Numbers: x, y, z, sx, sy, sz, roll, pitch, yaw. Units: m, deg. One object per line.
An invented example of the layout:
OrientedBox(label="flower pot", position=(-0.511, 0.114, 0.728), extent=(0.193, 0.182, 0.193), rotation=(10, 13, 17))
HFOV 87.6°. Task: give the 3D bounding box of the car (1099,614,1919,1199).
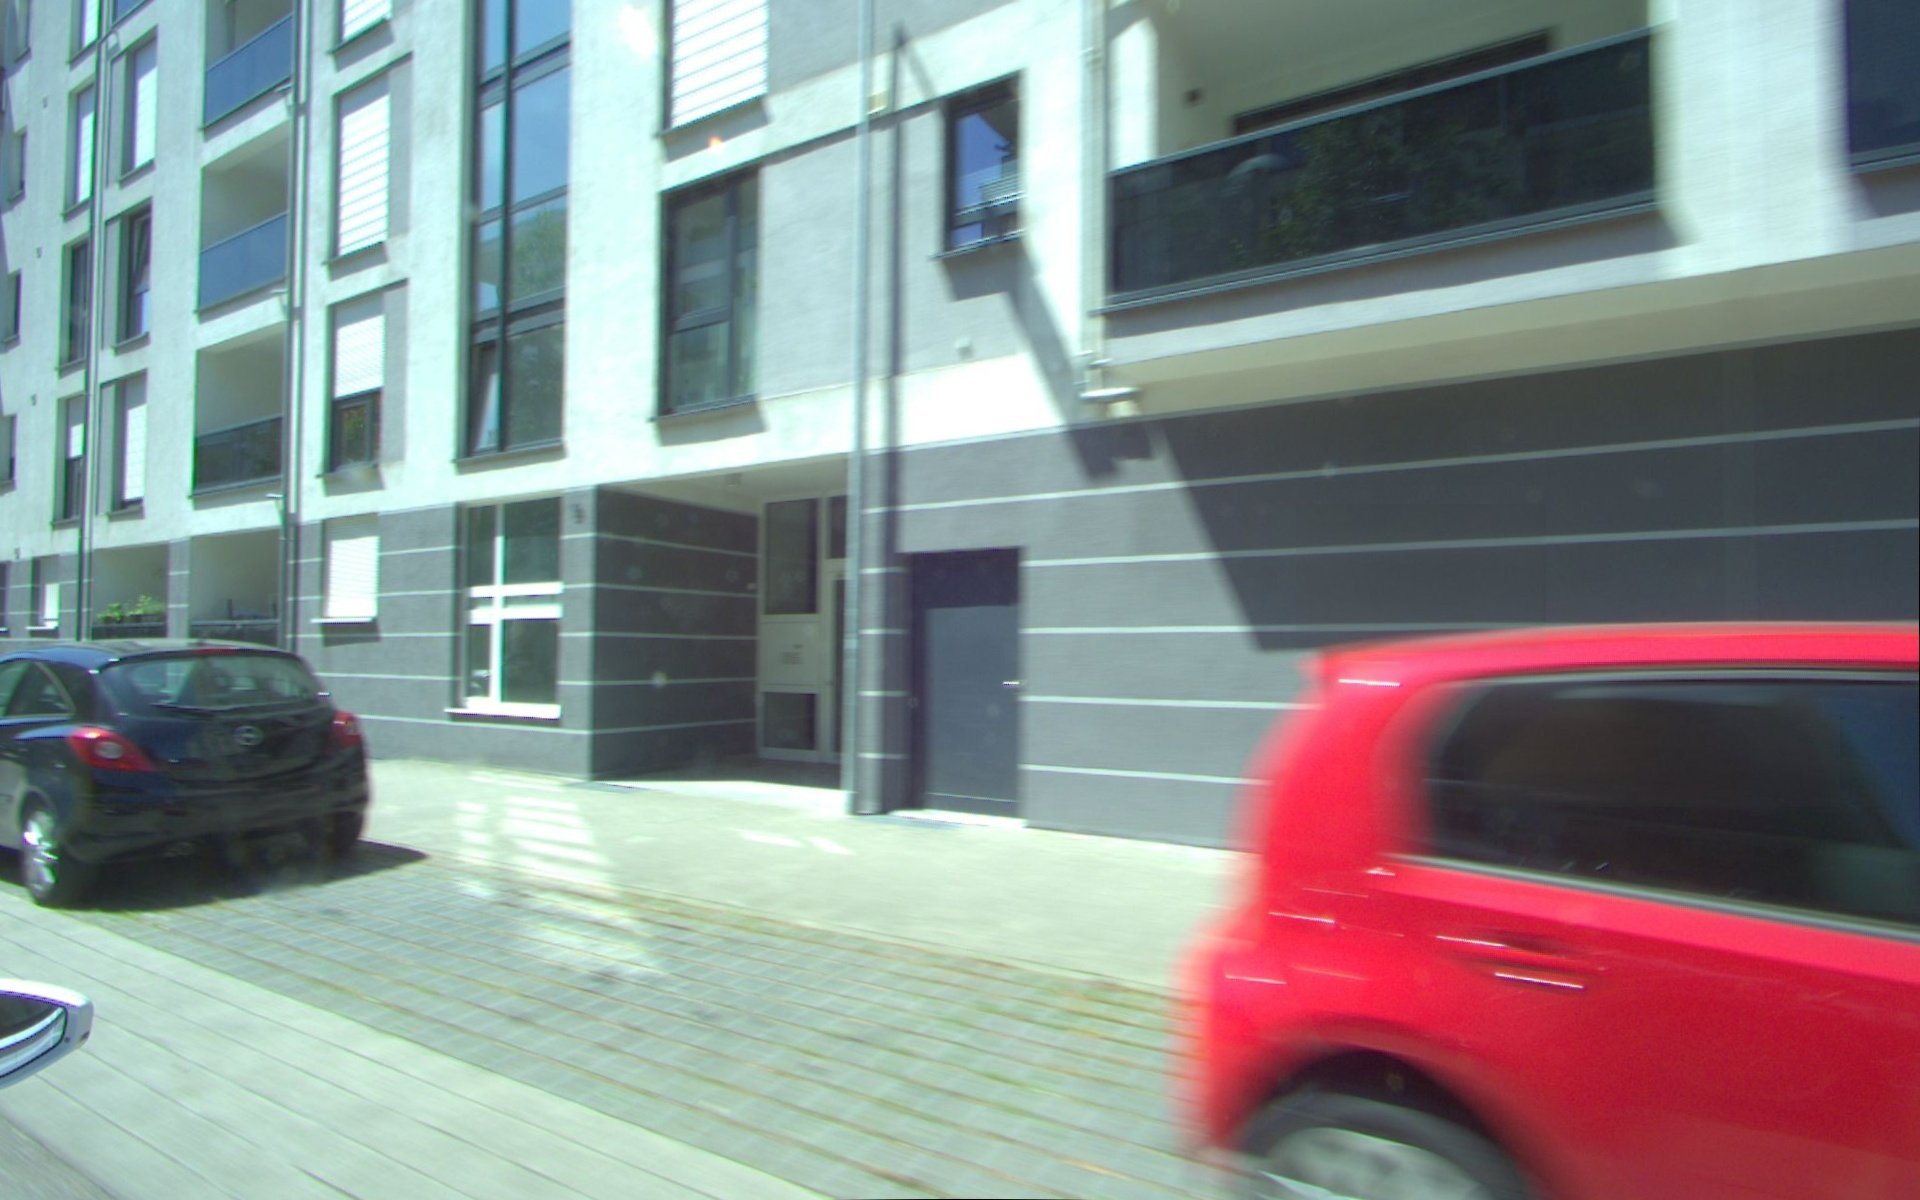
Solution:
OrientedBox(label="car", position=(2.260, 0.776, 1.936), extent=(3.623, 1.505, 1.592), rotation=(-1, -1, 32))

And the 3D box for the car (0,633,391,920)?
OrientedBox(label="car", position=(-5.925, 0.981, 7.005), extent=(4.058, 1.481, 1.640), rotation=(-1, -1, 31))
